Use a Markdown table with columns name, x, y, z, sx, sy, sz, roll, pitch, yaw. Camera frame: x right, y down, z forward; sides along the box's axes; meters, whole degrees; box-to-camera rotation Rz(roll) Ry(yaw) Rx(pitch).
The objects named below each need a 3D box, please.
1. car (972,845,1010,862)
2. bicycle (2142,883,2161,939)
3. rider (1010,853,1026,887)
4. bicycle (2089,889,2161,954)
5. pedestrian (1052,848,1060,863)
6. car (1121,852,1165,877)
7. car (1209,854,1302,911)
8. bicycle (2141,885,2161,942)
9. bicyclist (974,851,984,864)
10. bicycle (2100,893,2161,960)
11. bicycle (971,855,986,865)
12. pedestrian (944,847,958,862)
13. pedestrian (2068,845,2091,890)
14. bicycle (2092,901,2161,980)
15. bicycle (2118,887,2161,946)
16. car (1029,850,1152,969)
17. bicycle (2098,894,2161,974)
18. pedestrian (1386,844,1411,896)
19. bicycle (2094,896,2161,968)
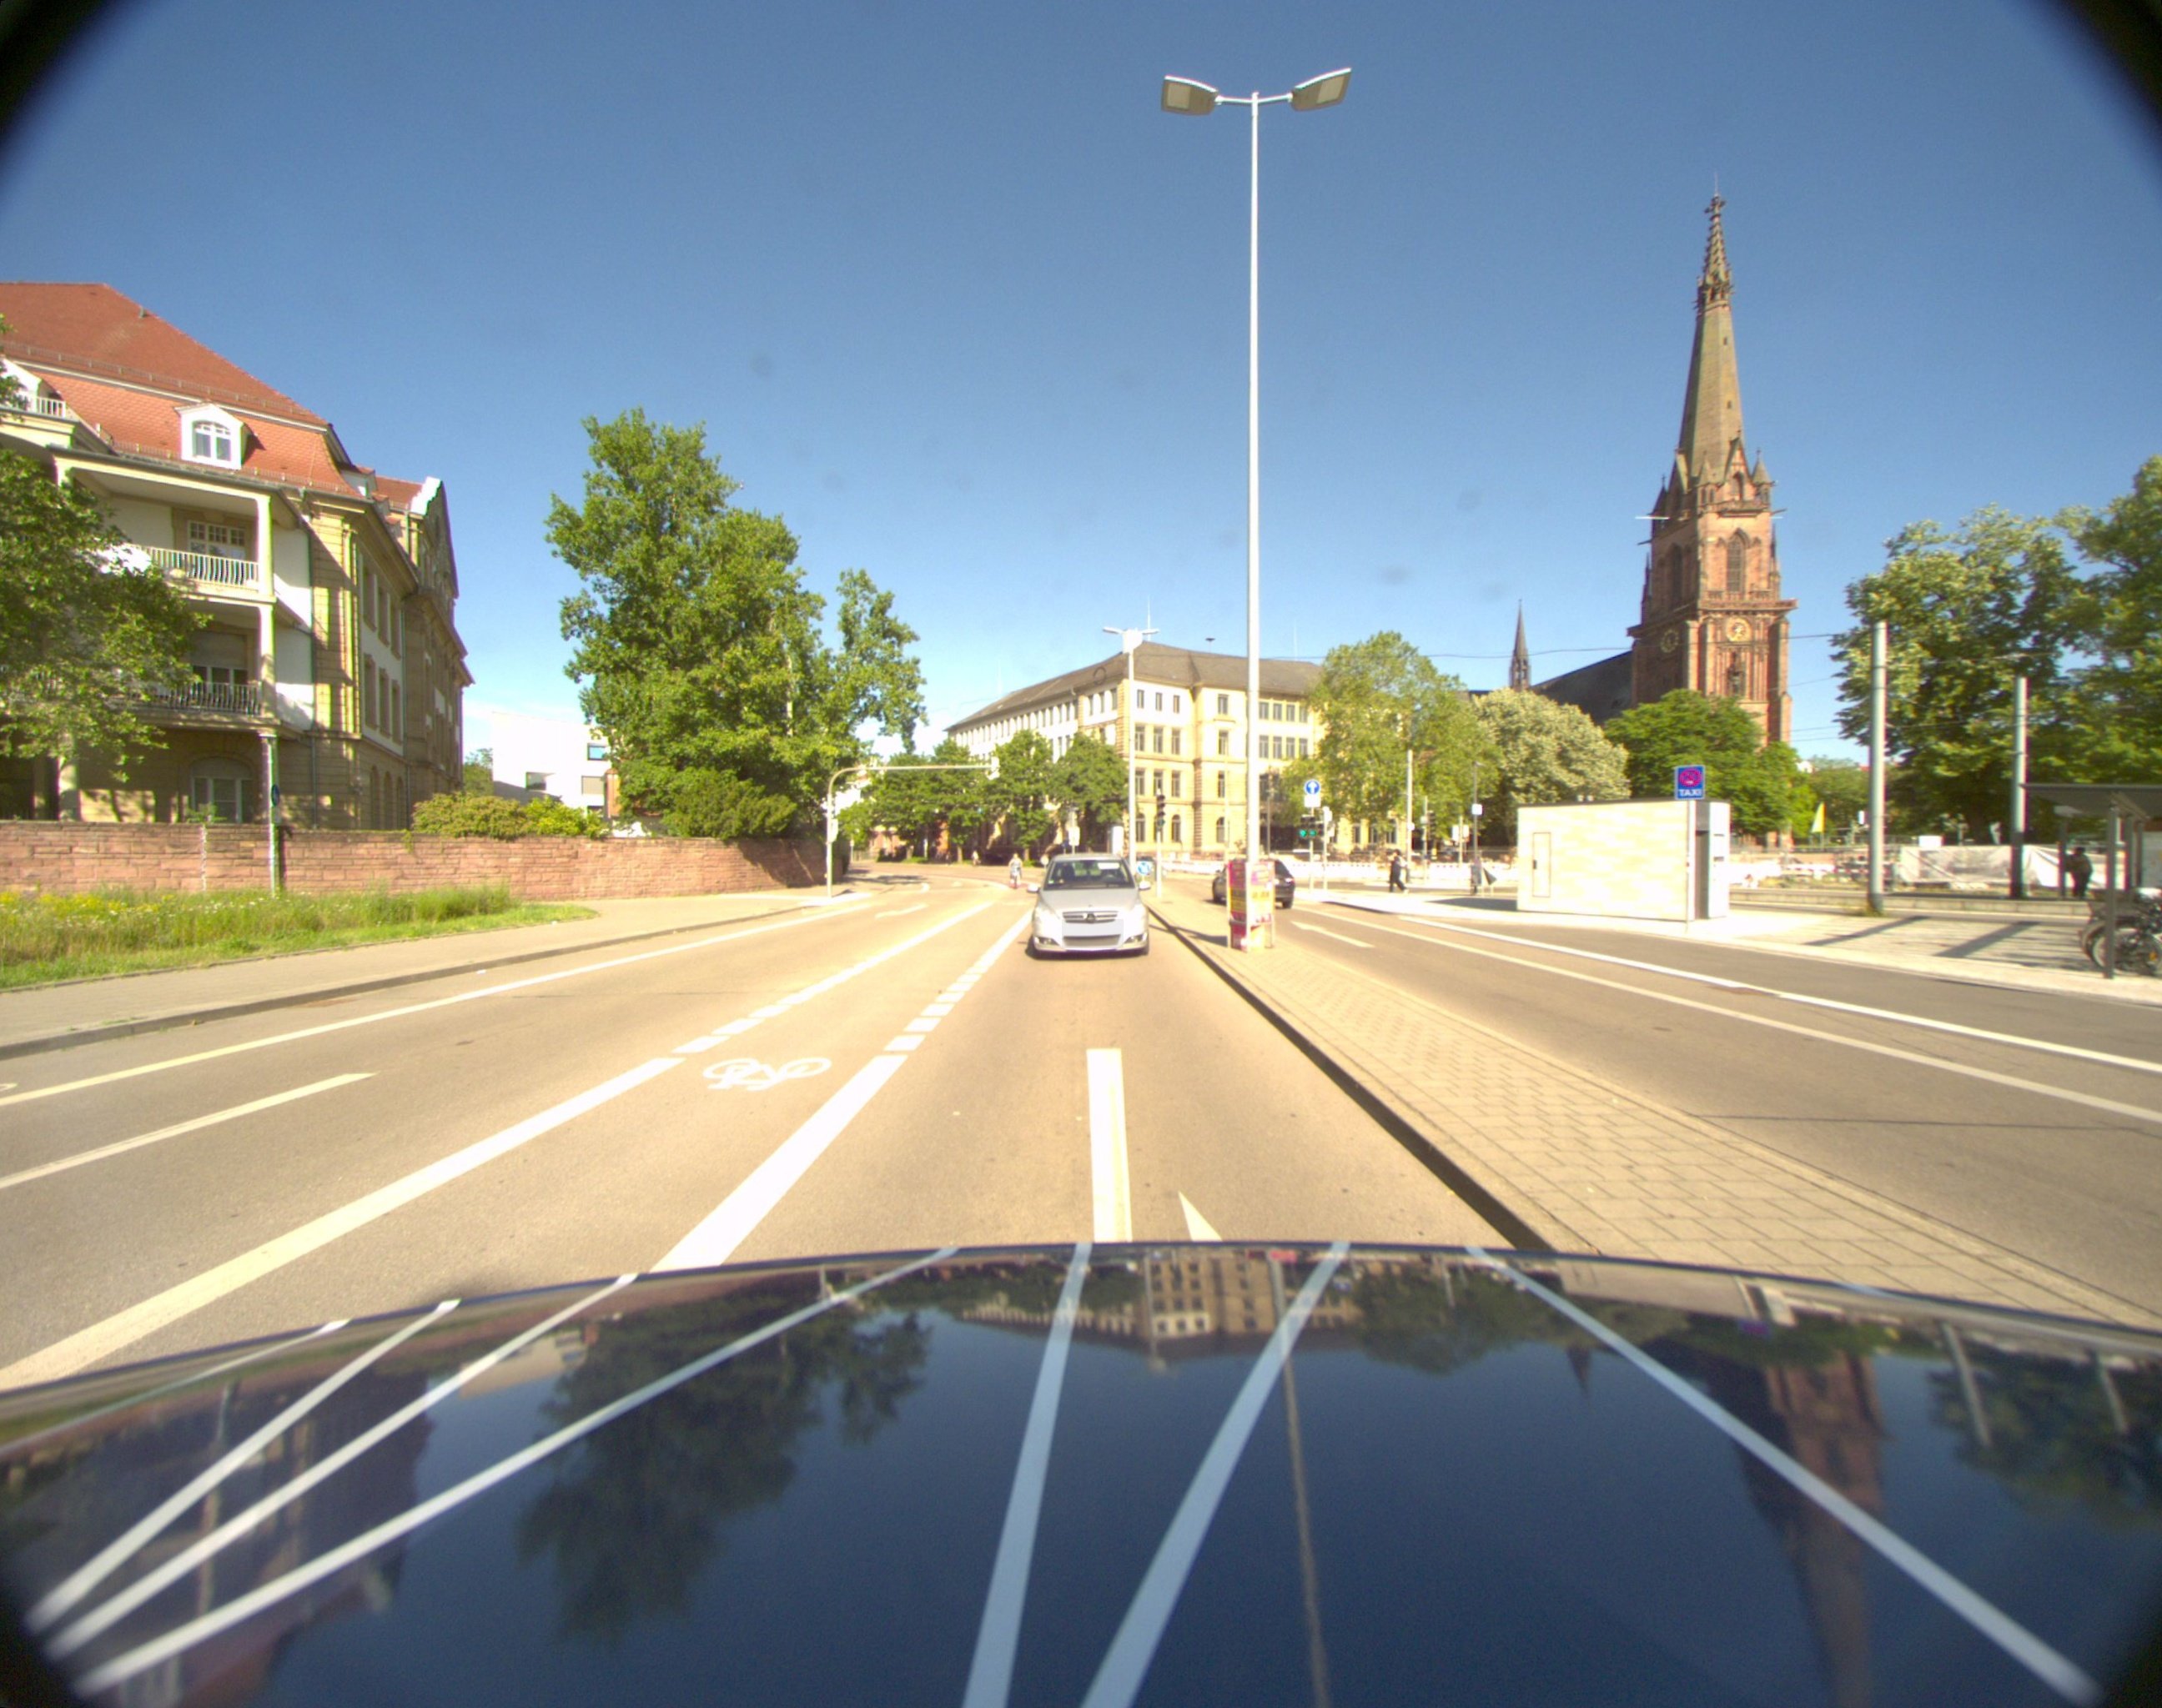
| name | x | y | z | sx | sy | sz | roll | pitch | yaw |
| --- | --- | --- | --- | --- | --- | --- | --- | --- | --- |
| car | -10.735 | -0.039 | 90.765 | 1.994 | 2.002 | 4.721 | 0 | 1 | 32 |
| bicycle | 20.483 | 1.064 | 13.616 | 0.458 | 1.003 | 1.667 | -1 | 1 | -33 |
| rider | -3.056 | 0.781 | 37.140 | 0.658 | 1.610 | 0.989 | -1 | 1 | 1 |
| bicycle | 17.909 | 1.127 | 12.433 | 0.458 | 1.003 | 1.667 | -1 | 1 | -33 |
| pedestrian | -2.780 | 0.151 | 83.940 | 0.677 | 1.714 | 0.588 | -1 | 1 | -22 |
| car | 4.159 | 0.685 | 51.611 | 1.862 | 1.533 | 4.236 | 1 | 1 | -11 |
| car | 5.183 | 0.779 | 23.169 | 1.793 | 1.490 | 4.575 | 1 | 1 | 0 |
| bicycle | 19.890 | 1.076 | 13.206 | 0.458 | 1.003 | 1.667 | -1 | 1 | -33 |
| bicyclist | -11.316 | 0.359 | 84.080 | 0.893 | 1.377 | 0.735 | 1 | 1 | 44 |
| bicycle | 17.255 | 1.148 | 11.660 | 0.458 | 1.003 | 1.899 | -1 | 1 | -33 |
| bicycle | -11.342 | 0.659 | 84.111 | 1.830 | 0.985 | 0.735 | 0 | 1 | 44 |
| pedestrian | -15.834 | 0.073 | 92.780 | 0.934 | 1.812 | 1.394 | 1 | 1 | 45 |
| pedestrian | 37.566 | 0.500 | 28.584 | 0.404 | 1.711 | 0.419 | 1 | 1 | 38 |
| bicycle | 14.695 | 1.171 | 9.970 | 0.458 | 1.003 | 1.667 | -1 | 1 | -33 |
| bicycle | 19.123 | 1.099 | 12.954 | 0.458 | 1.003 | 1.667 | -1 | 1 | -33 |
| car | 0.100 | 0.779 | 12.782 | 1.706 | 1.657 | 3.913 | -1 | 1 | -1 |
| bicycle | 15.196 | 1.124 | 10.285 | 0.458 | 1.055 | 1.667 | -1 | 1 | -33 |
| pedestrian | 11.248 | 0.559 | 26.969 | 0.693 | 1.844 | 0.679 | 0 | 1 | 12 |
| bicycle | 16.069 | 1.153 | 10.982 | 0.458 | 1.003 | 1.667 | -1 | 1 | -33 |
